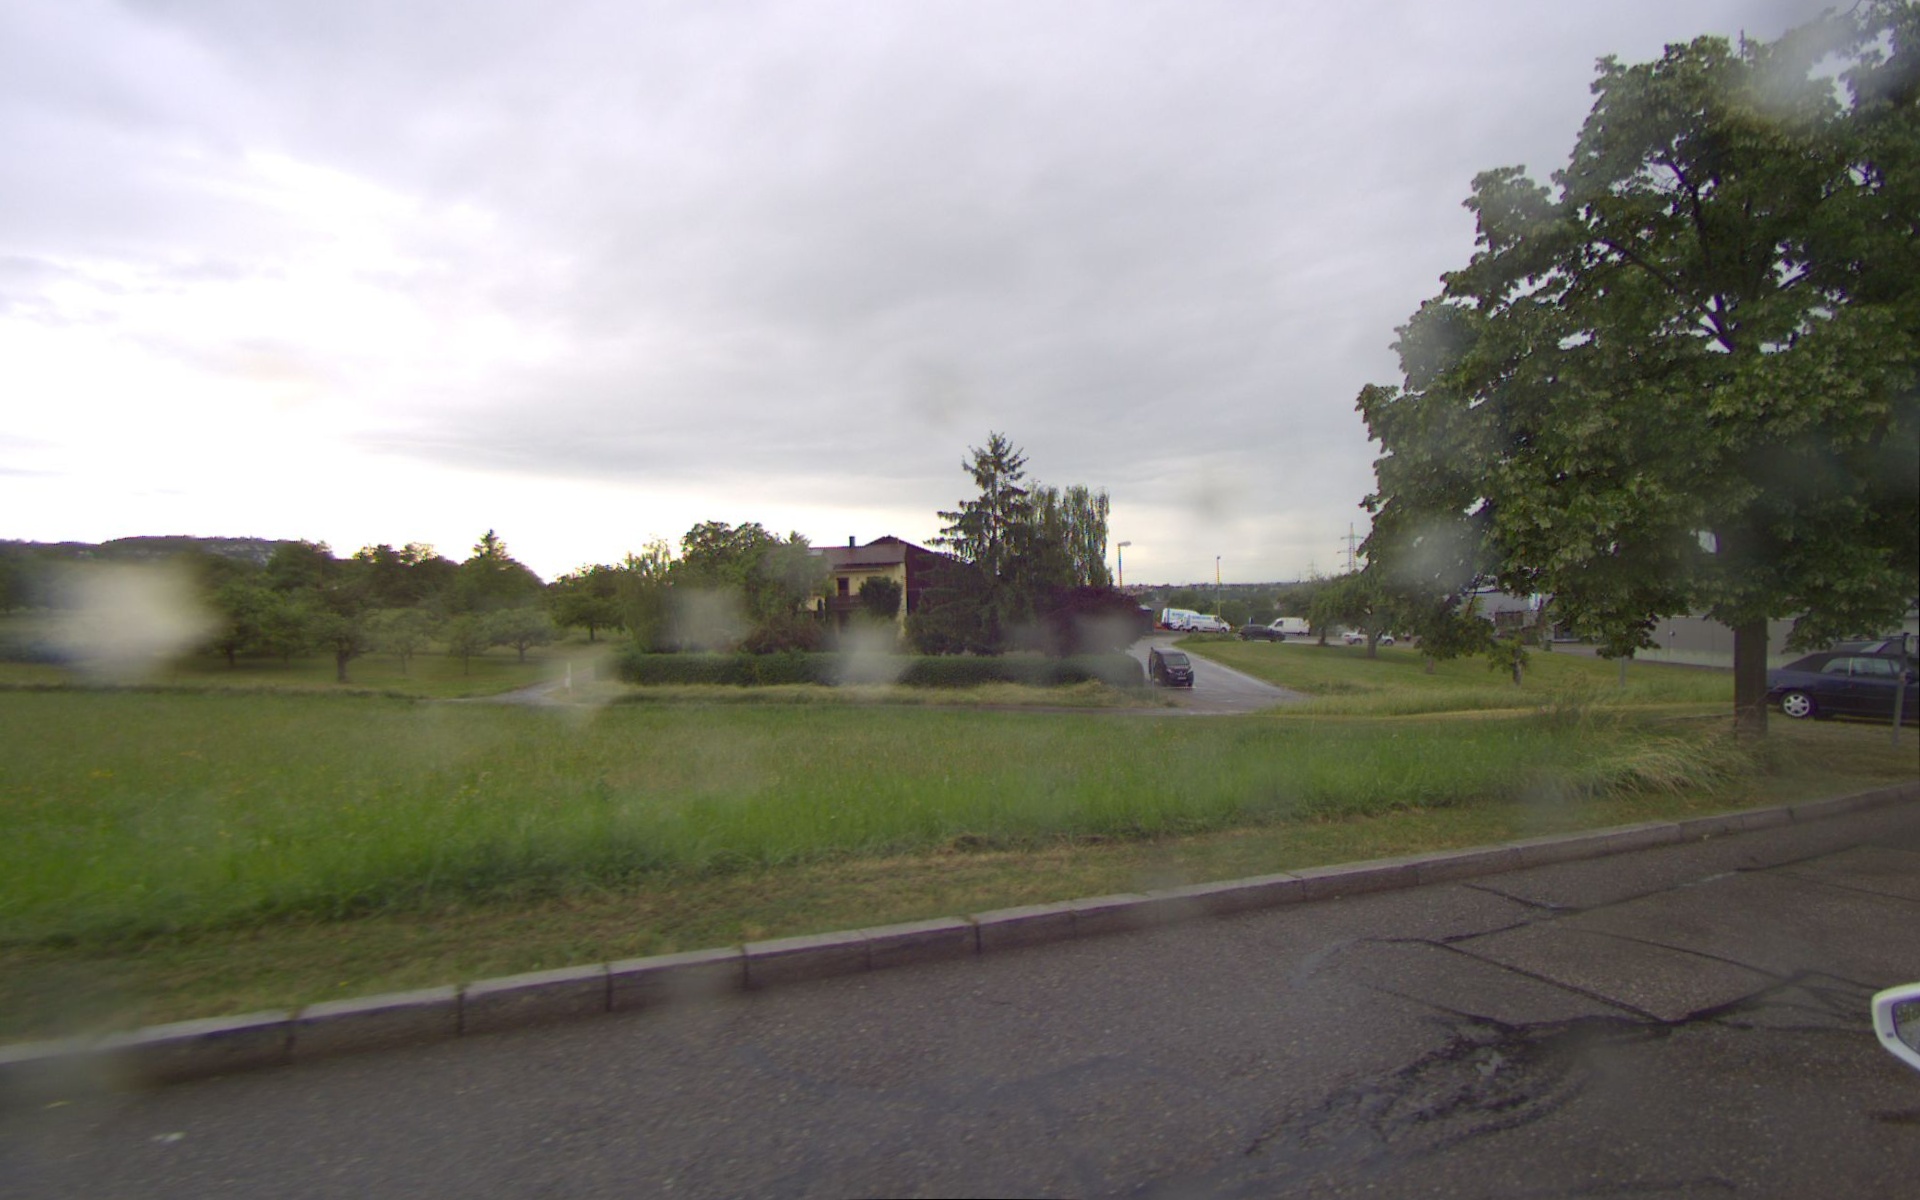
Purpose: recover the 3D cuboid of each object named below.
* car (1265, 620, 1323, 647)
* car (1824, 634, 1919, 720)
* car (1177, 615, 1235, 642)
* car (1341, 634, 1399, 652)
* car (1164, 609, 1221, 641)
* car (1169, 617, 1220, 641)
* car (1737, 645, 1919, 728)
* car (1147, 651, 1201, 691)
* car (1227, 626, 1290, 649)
[{"bbox_3d":[43.406,4.356,130.654,6.596,3.469,2.546,0,-3,1],"label":"car"},{"bbox_3d":[20.807,1.618,20.563,2.021,1.744,4.347,3,-3,-30],"label":"car"},{"bbox_3d":[26.938,3.081,110.105,5.702,2.737,1.998,2,0,-6],"label":"car"},{"bbox_3d":[38.695,4.056,94.936,4.528,1.669,2.292,0,-3,1],"label":"car"},{"bbox_3d":[27.395,2.948,118.628,6.176,3.474,2.001,2,-2,1],"label":"car"},{"bbox_3d":[27.049,3.348,115.949,5.328,2.603,1.999,2,-2,-5],"label":"car"},{"bbox_3d":[18.174,1.709,19.814,1.756,1.450,4.186,3,-2,-34],"label":"car"},{"bbox_3d":[12.488,4.174,58.955,1.893,2.249,4.502,1,-4,-5],"label":"car"},{"bbox_3d":[28.448,3.609,95.707,5.315,2.000,2.292,2,-3,1],"label":"car"}]
